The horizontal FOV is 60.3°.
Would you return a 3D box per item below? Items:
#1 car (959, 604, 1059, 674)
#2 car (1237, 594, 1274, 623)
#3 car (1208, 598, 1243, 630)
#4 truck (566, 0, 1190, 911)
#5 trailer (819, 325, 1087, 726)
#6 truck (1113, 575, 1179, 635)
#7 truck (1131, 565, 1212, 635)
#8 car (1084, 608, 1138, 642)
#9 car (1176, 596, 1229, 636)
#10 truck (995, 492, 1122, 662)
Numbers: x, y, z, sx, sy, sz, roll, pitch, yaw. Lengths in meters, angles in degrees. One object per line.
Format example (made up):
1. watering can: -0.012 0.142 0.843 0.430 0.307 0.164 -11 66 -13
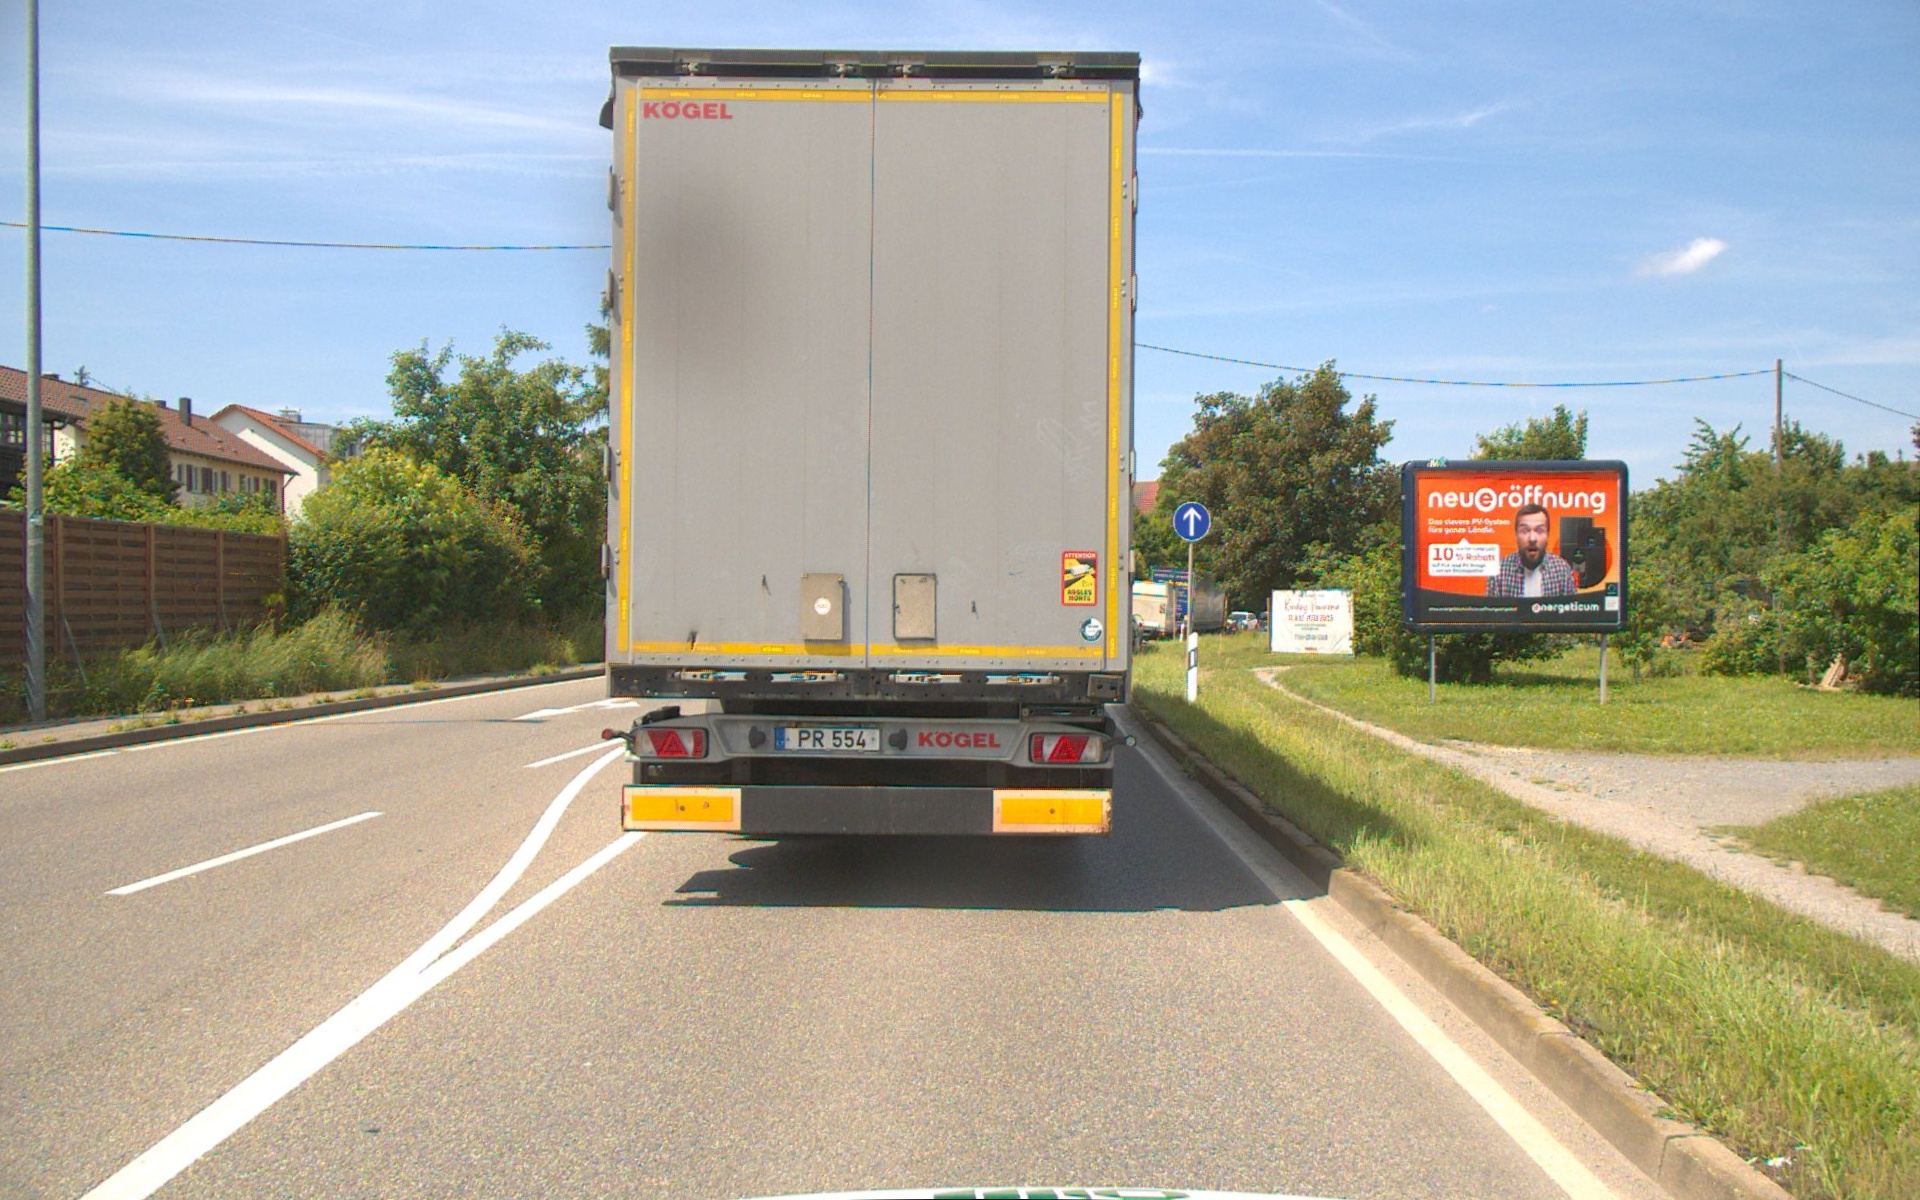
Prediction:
1. car: 1.108 0.816 35.314 1.780 1.370 3.850 1 -1 7
2. car: 21.345 0.630 119.389 1.952 2.049 4.001 1 -1 20
3. car: 17.839 0.943 111.026 1.951 2.049 4.003 1 -1 15
4. truck: -0.212 -0.756 13.213 2.763 4.200 11.446 1 0 2
5. trailer: 0.009 -0.805 20.609 2.767 4.183 6.545 1 0 1
6. truck: 9.314 0.294 82.392 2.489 2.852 6.036 1 -1 13
7. truck: 12.030 -0.053 93.153 3.360 3.667 9.361 1 1 14
8. car: 6.719 1.114 73.189 1.951 1.400 4.003 1 -1 11
9. car: 14.997 0.928 101.914 2.478 2.317 6.386 1 0 15
10. truck: 3.351 -0.496 51.178 2.701 4.364 16.427 1 -1 7
